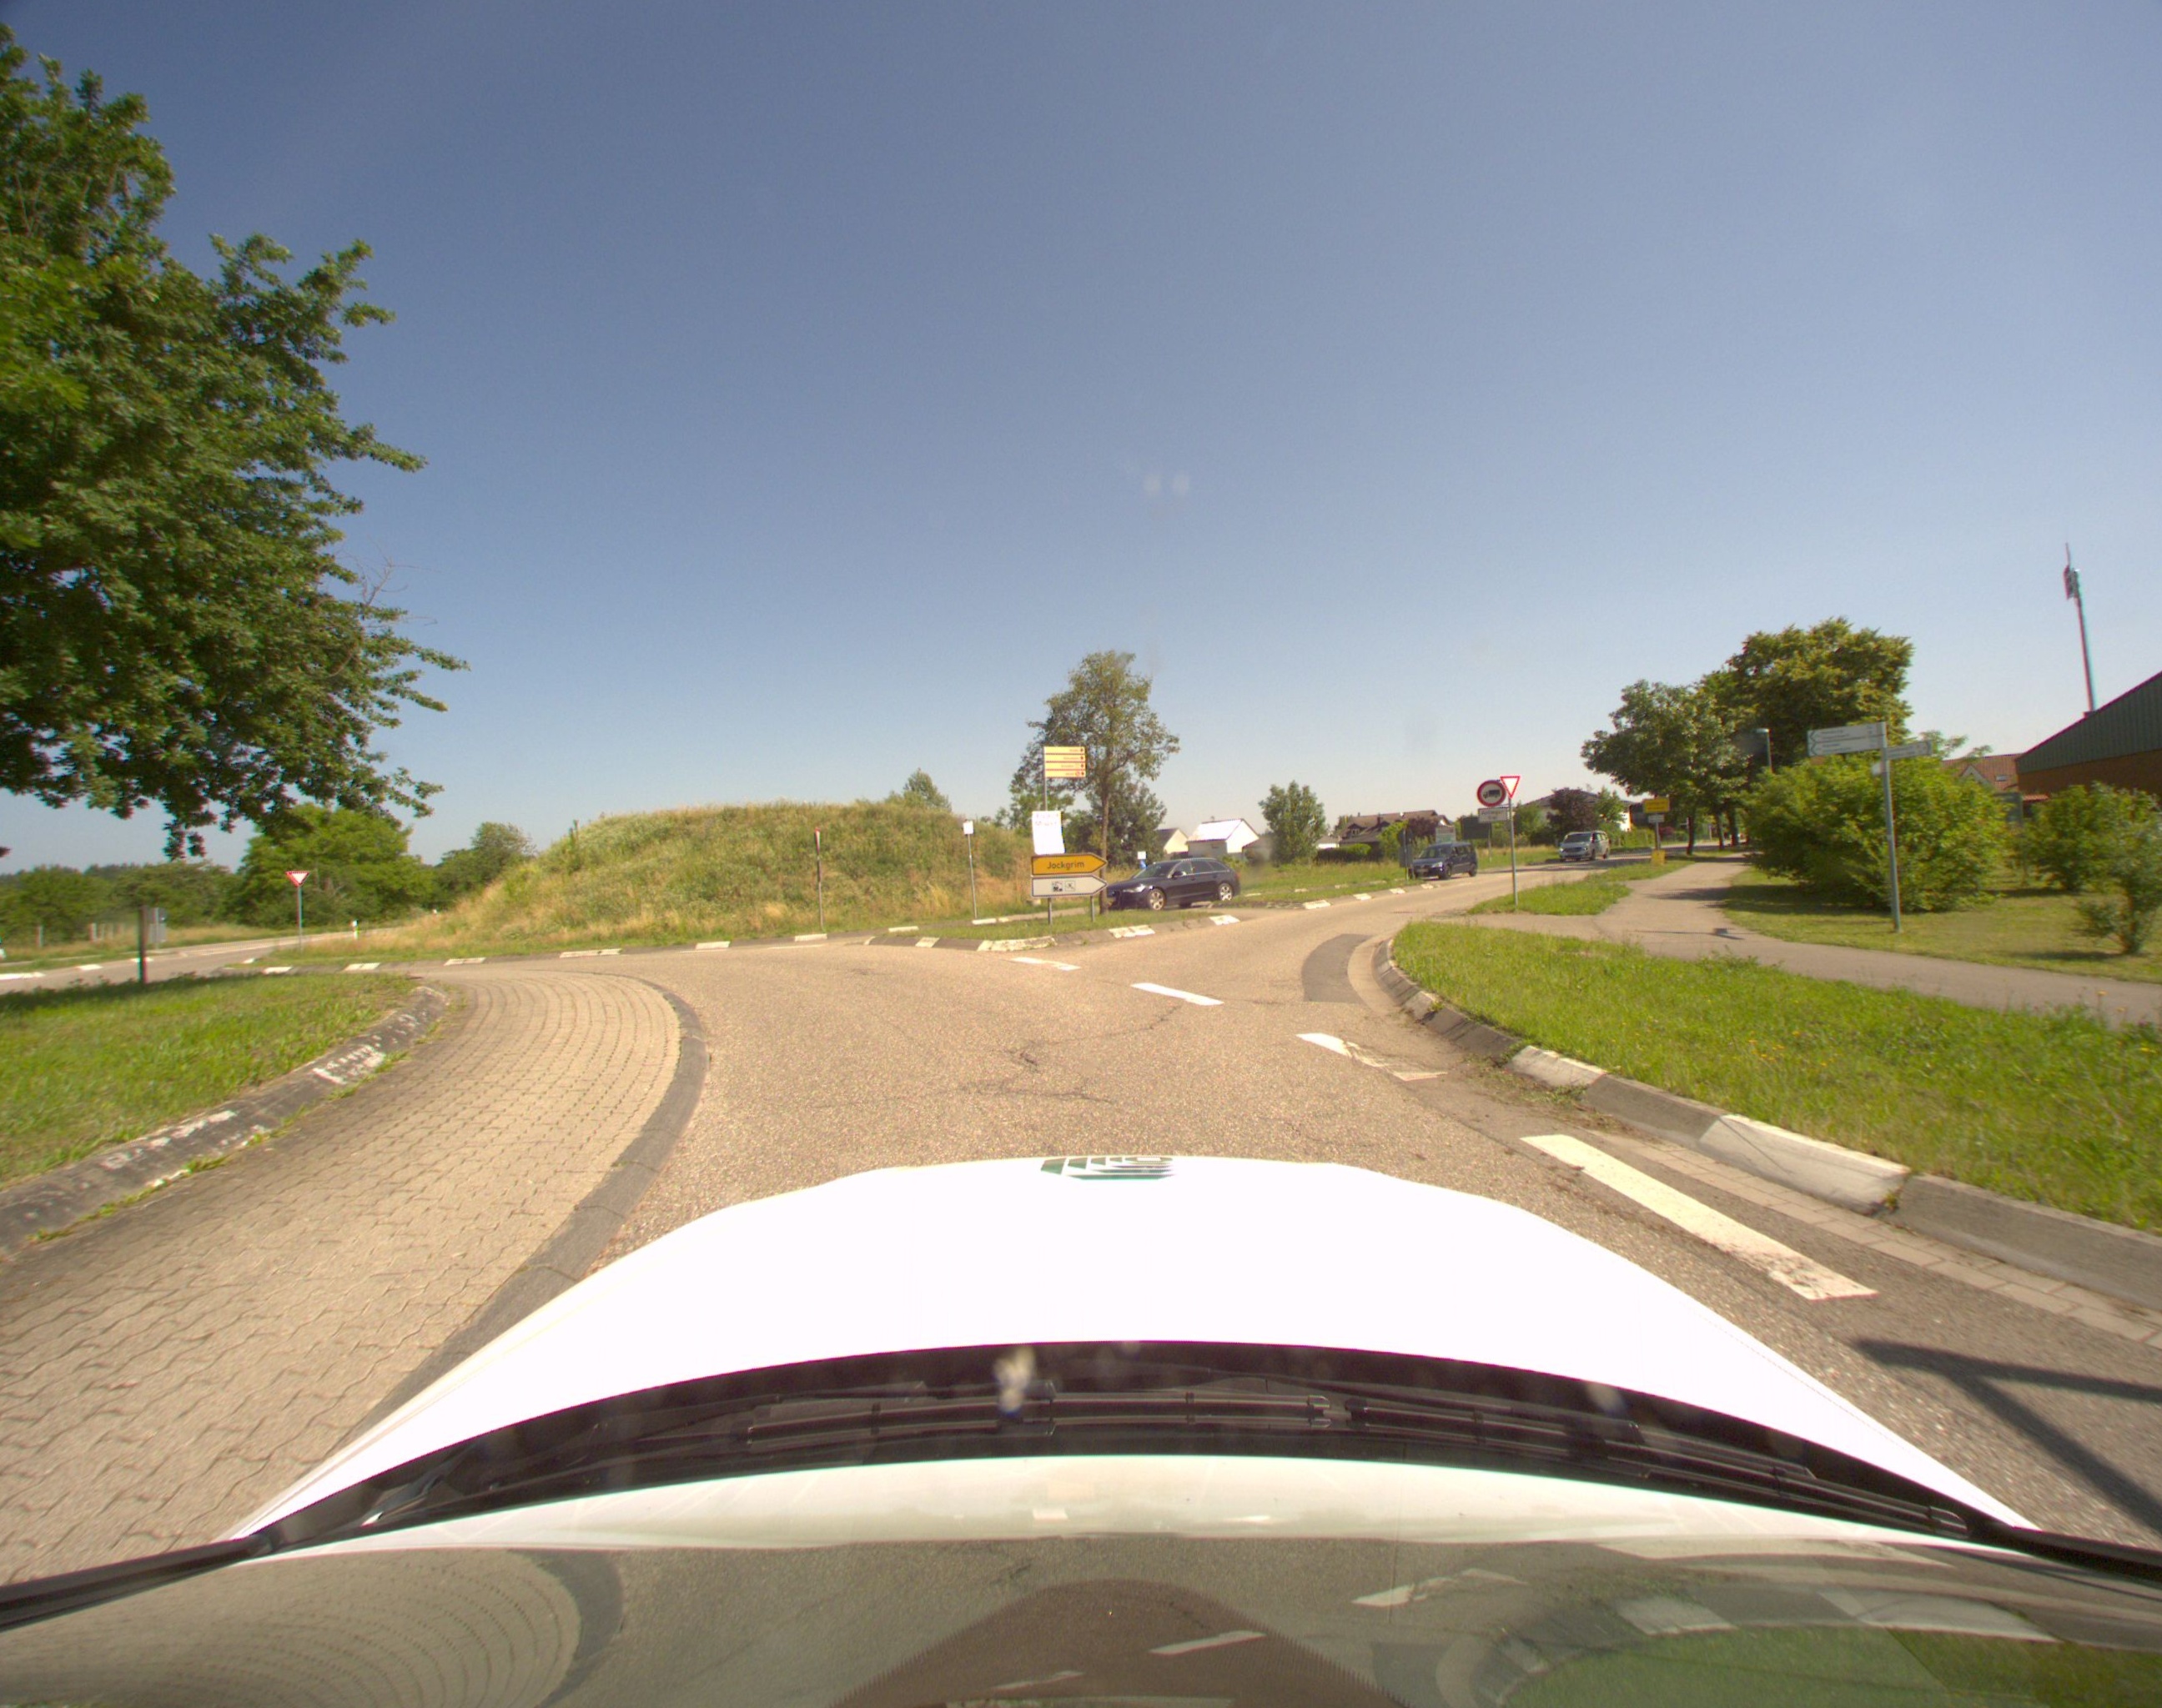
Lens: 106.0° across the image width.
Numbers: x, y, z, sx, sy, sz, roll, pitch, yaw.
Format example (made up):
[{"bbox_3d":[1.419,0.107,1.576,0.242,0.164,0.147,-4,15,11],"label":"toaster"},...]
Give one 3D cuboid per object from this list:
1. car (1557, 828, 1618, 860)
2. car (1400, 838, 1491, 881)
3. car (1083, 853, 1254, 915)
[{"bbox_3d":[32.673,-0.658,52.499,5.231,1.816,1.975,-2,-1,-43],"label":"car"},{"bbox_3d":[16.473,0.221,36.666,4.680,1.641,1.794,-2,-5,-41],"label":"car"},{"bbox_3d":[2.627,0.856,23.836,4.935,1.434,1.902,-2,-4,-37],"label":"car"}]
